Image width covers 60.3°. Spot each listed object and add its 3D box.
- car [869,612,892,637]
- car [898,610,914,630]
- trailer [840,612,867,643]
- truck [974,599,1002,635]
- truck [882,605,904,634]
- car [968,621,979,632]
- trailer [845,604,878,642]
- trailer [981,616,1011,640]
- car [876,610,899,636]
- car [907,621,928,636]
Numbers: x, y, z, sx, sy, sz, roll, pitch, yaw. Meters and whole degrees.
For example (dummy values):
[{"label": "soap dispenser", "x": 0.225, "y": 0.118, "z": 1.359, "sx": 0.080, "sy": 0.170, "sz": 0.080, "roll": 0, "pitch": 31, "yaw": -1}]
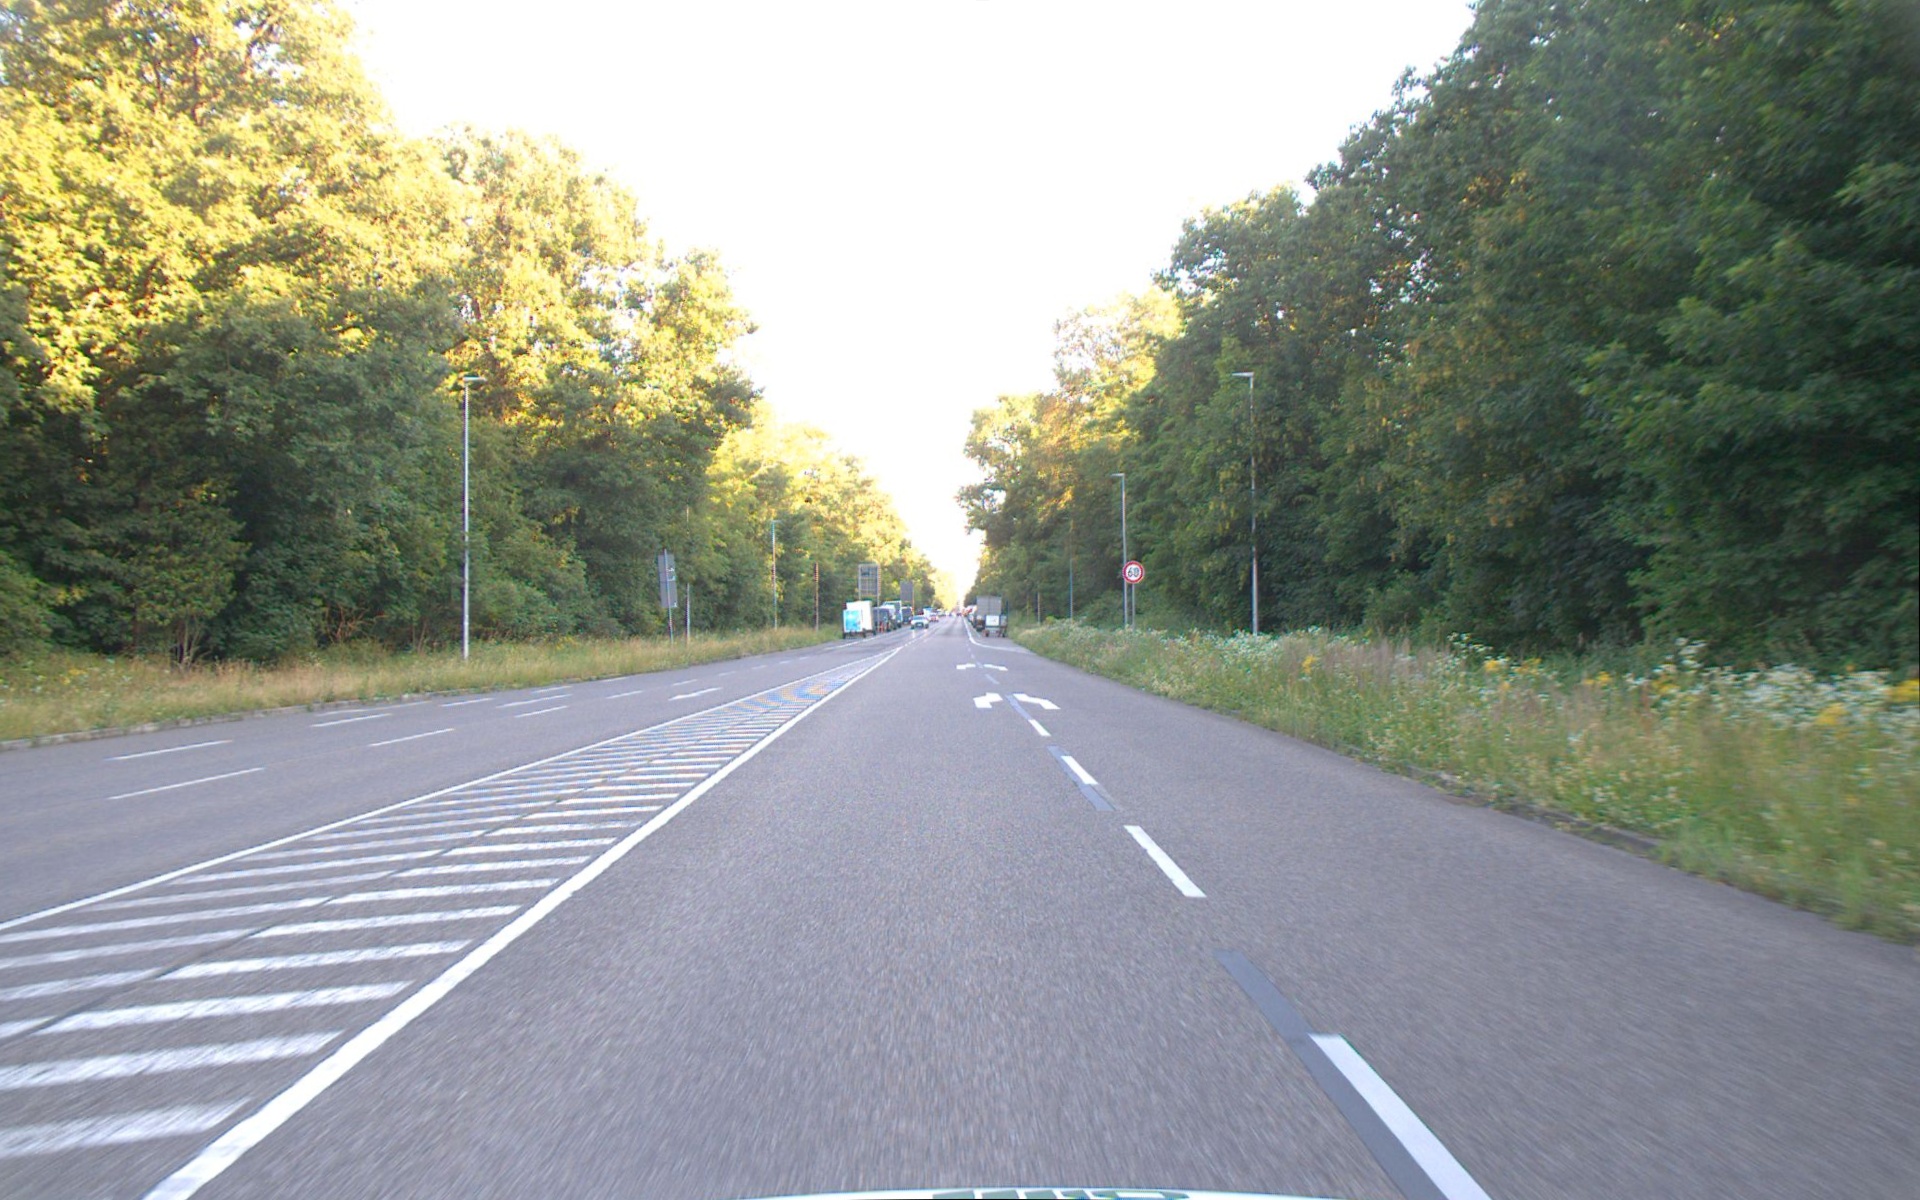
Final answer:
[{"label": "car", "x": -7.843, "y": 2.408, "z": 163.711, "sx": 1.953, "sy": 2.405, "sz": 5.765, "roll": -3, "pitch": -1, "yaw": 0}, {"label": "car", "x": -7.831, "y": 2.970, "z": 241.488, "sx": 2.142, "sy": 2.837, "sz": 5.333, "roll": -2, "pitch": -1, "yaw": 0}, {"label": "trailer", "x": -7.892, "y": 2.052, "z": 122.807, "sx": 1.780, "sy": 2.205, "sz": 4.142, "roll": -2, "pitch": -1, "yaw": -1}, {"label": "truck", "x": 2.612, "y": 1.630, "z": 155.054, "sx": 2.535, "sy": 3.312, "sz": 7.221, "roll": 0, "pitch": -1, "yaw": 1}, {"label": "truck", "x": -8.325, "y": 2.415, "z": 206.847, "sx": 2.453, "sy": 3.387, "sz": 6.840, "roll": -2, "pitch": -1, "yaw": 0}, {"label": "car", "x": 1.879, "y": 3.662, "z": 228.007, "sx": 1.126, "sy": 1.271, "sz": 2.753, "roll": -11, "pitch": 1, "yaw": -2}, {"label": "trailer", "x": -8.221, "y": 1.890, "z": 138.417, "sx": 2.279, "sy": 2.975, "sz": 5.625, "roll": -3, "pitch": -1, "yaw": -1}, {"label": "trailer", "x": 2.706, "y": 2.087, "z": 122.542, "sx": 1.425, "sy": 1.691, "sz": 3.780, "roll": -2, "pitch": -1, "yaw": 13}, {"label": "car", "x": -7.950, "y": 2.479, "z": 181.272, "sx": 2.203, "sy": 2.694, "sz": 5.720, "roll": -2, "pitch": -1, "yaw": 0}, {"label": "car", "x": -4.688, "y": 3.159, "z": 185.051, "sx": 2.021, "sy": 1.460, "sz": 4.467, "roll": -3, "pitch": 1, "yaw": 2}]
